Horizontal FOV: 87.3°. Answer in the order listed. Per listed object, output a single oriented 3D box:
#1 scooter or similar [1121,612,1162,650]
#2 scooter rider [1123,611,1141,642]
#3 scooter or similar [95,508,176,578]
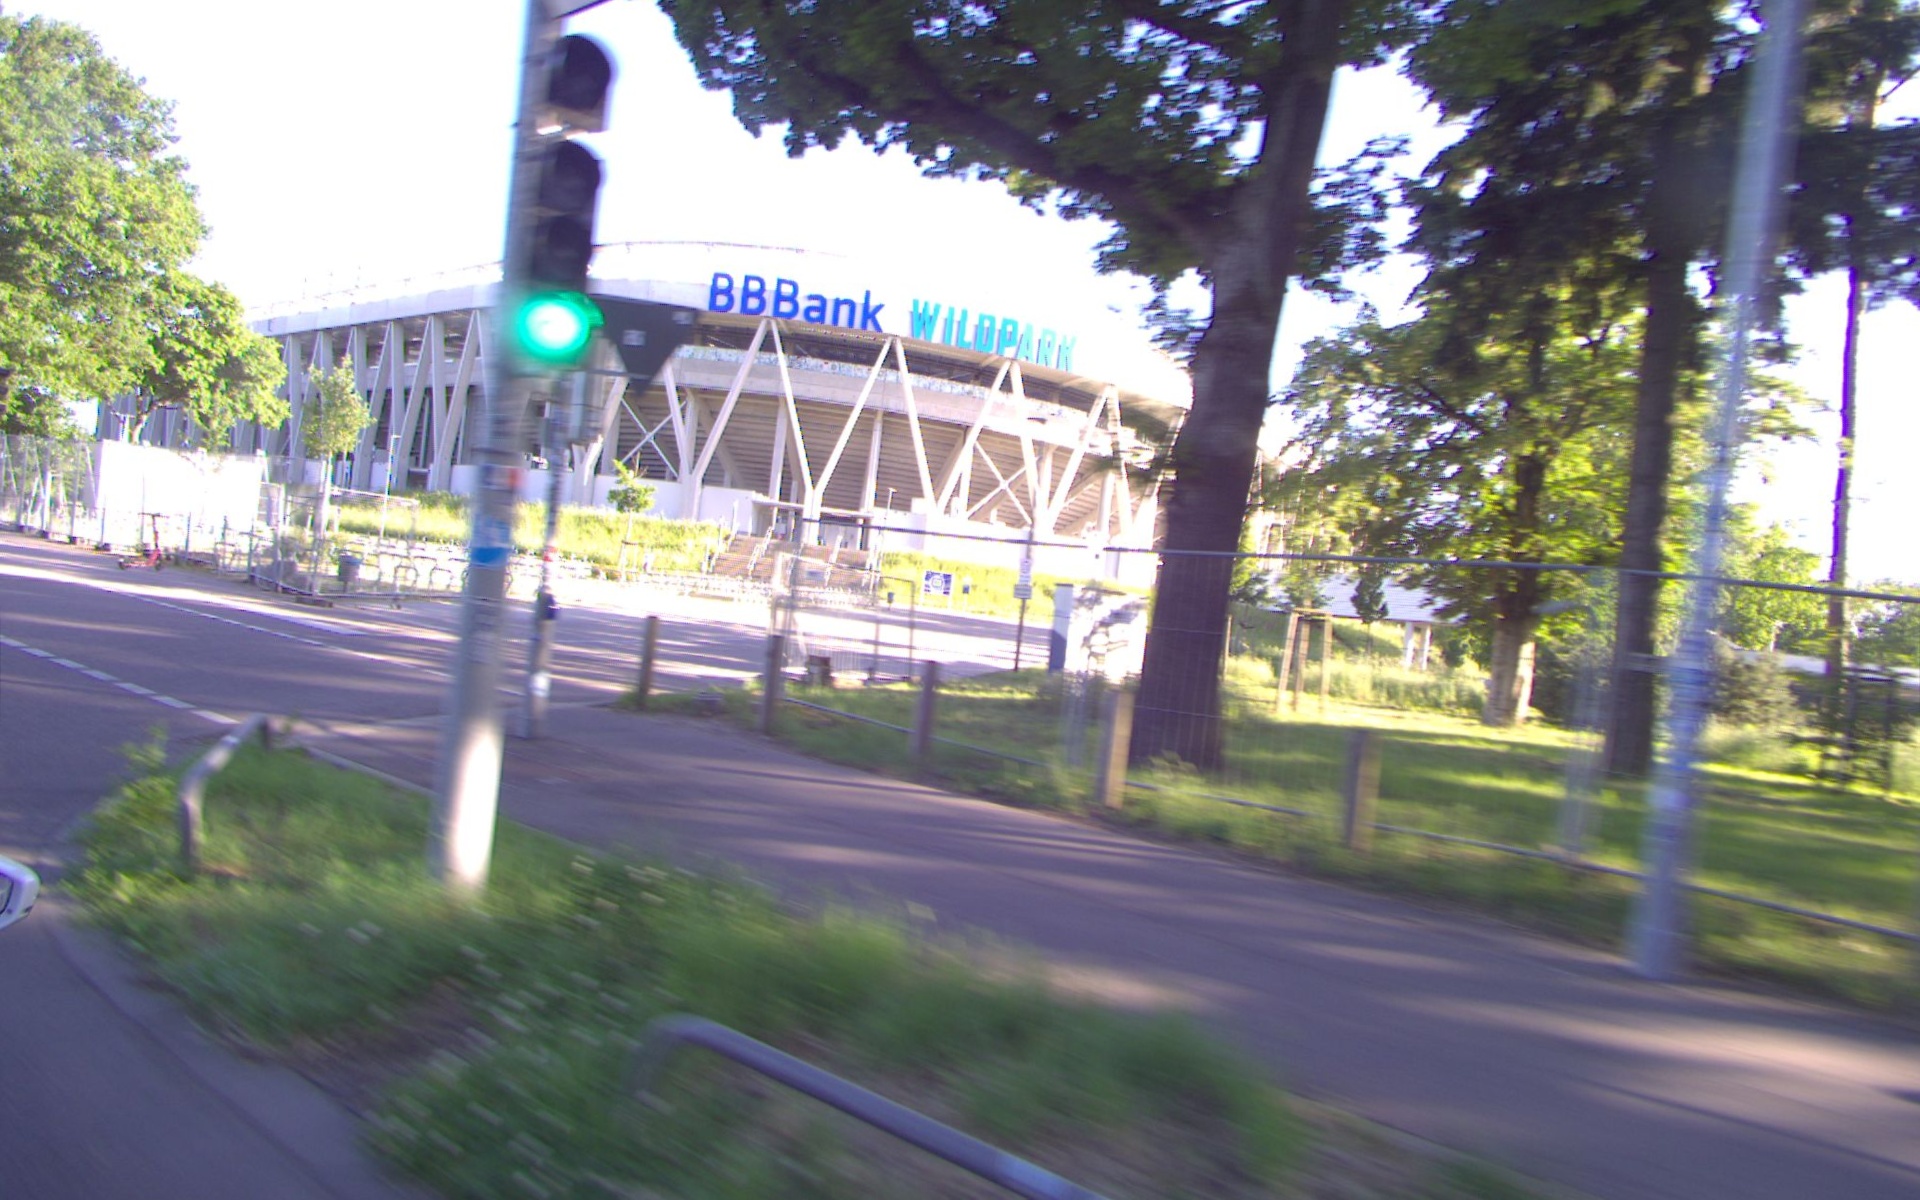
[{"bbox_3d":[7.982,1.367,44.258,1.500,1.507,0.648,7,-1,2],"label":"scooter or similar"},{"bbox_3d":[7.572,1.173,44.278,0.595,1.289,0.545,7,-1,3],"label":"scooter rider"},{"bbox_3d":[-16.916,-1.143,20.667,0.594,1.304,1.358,7,0,-11],"label":"scooter or similar"}]
